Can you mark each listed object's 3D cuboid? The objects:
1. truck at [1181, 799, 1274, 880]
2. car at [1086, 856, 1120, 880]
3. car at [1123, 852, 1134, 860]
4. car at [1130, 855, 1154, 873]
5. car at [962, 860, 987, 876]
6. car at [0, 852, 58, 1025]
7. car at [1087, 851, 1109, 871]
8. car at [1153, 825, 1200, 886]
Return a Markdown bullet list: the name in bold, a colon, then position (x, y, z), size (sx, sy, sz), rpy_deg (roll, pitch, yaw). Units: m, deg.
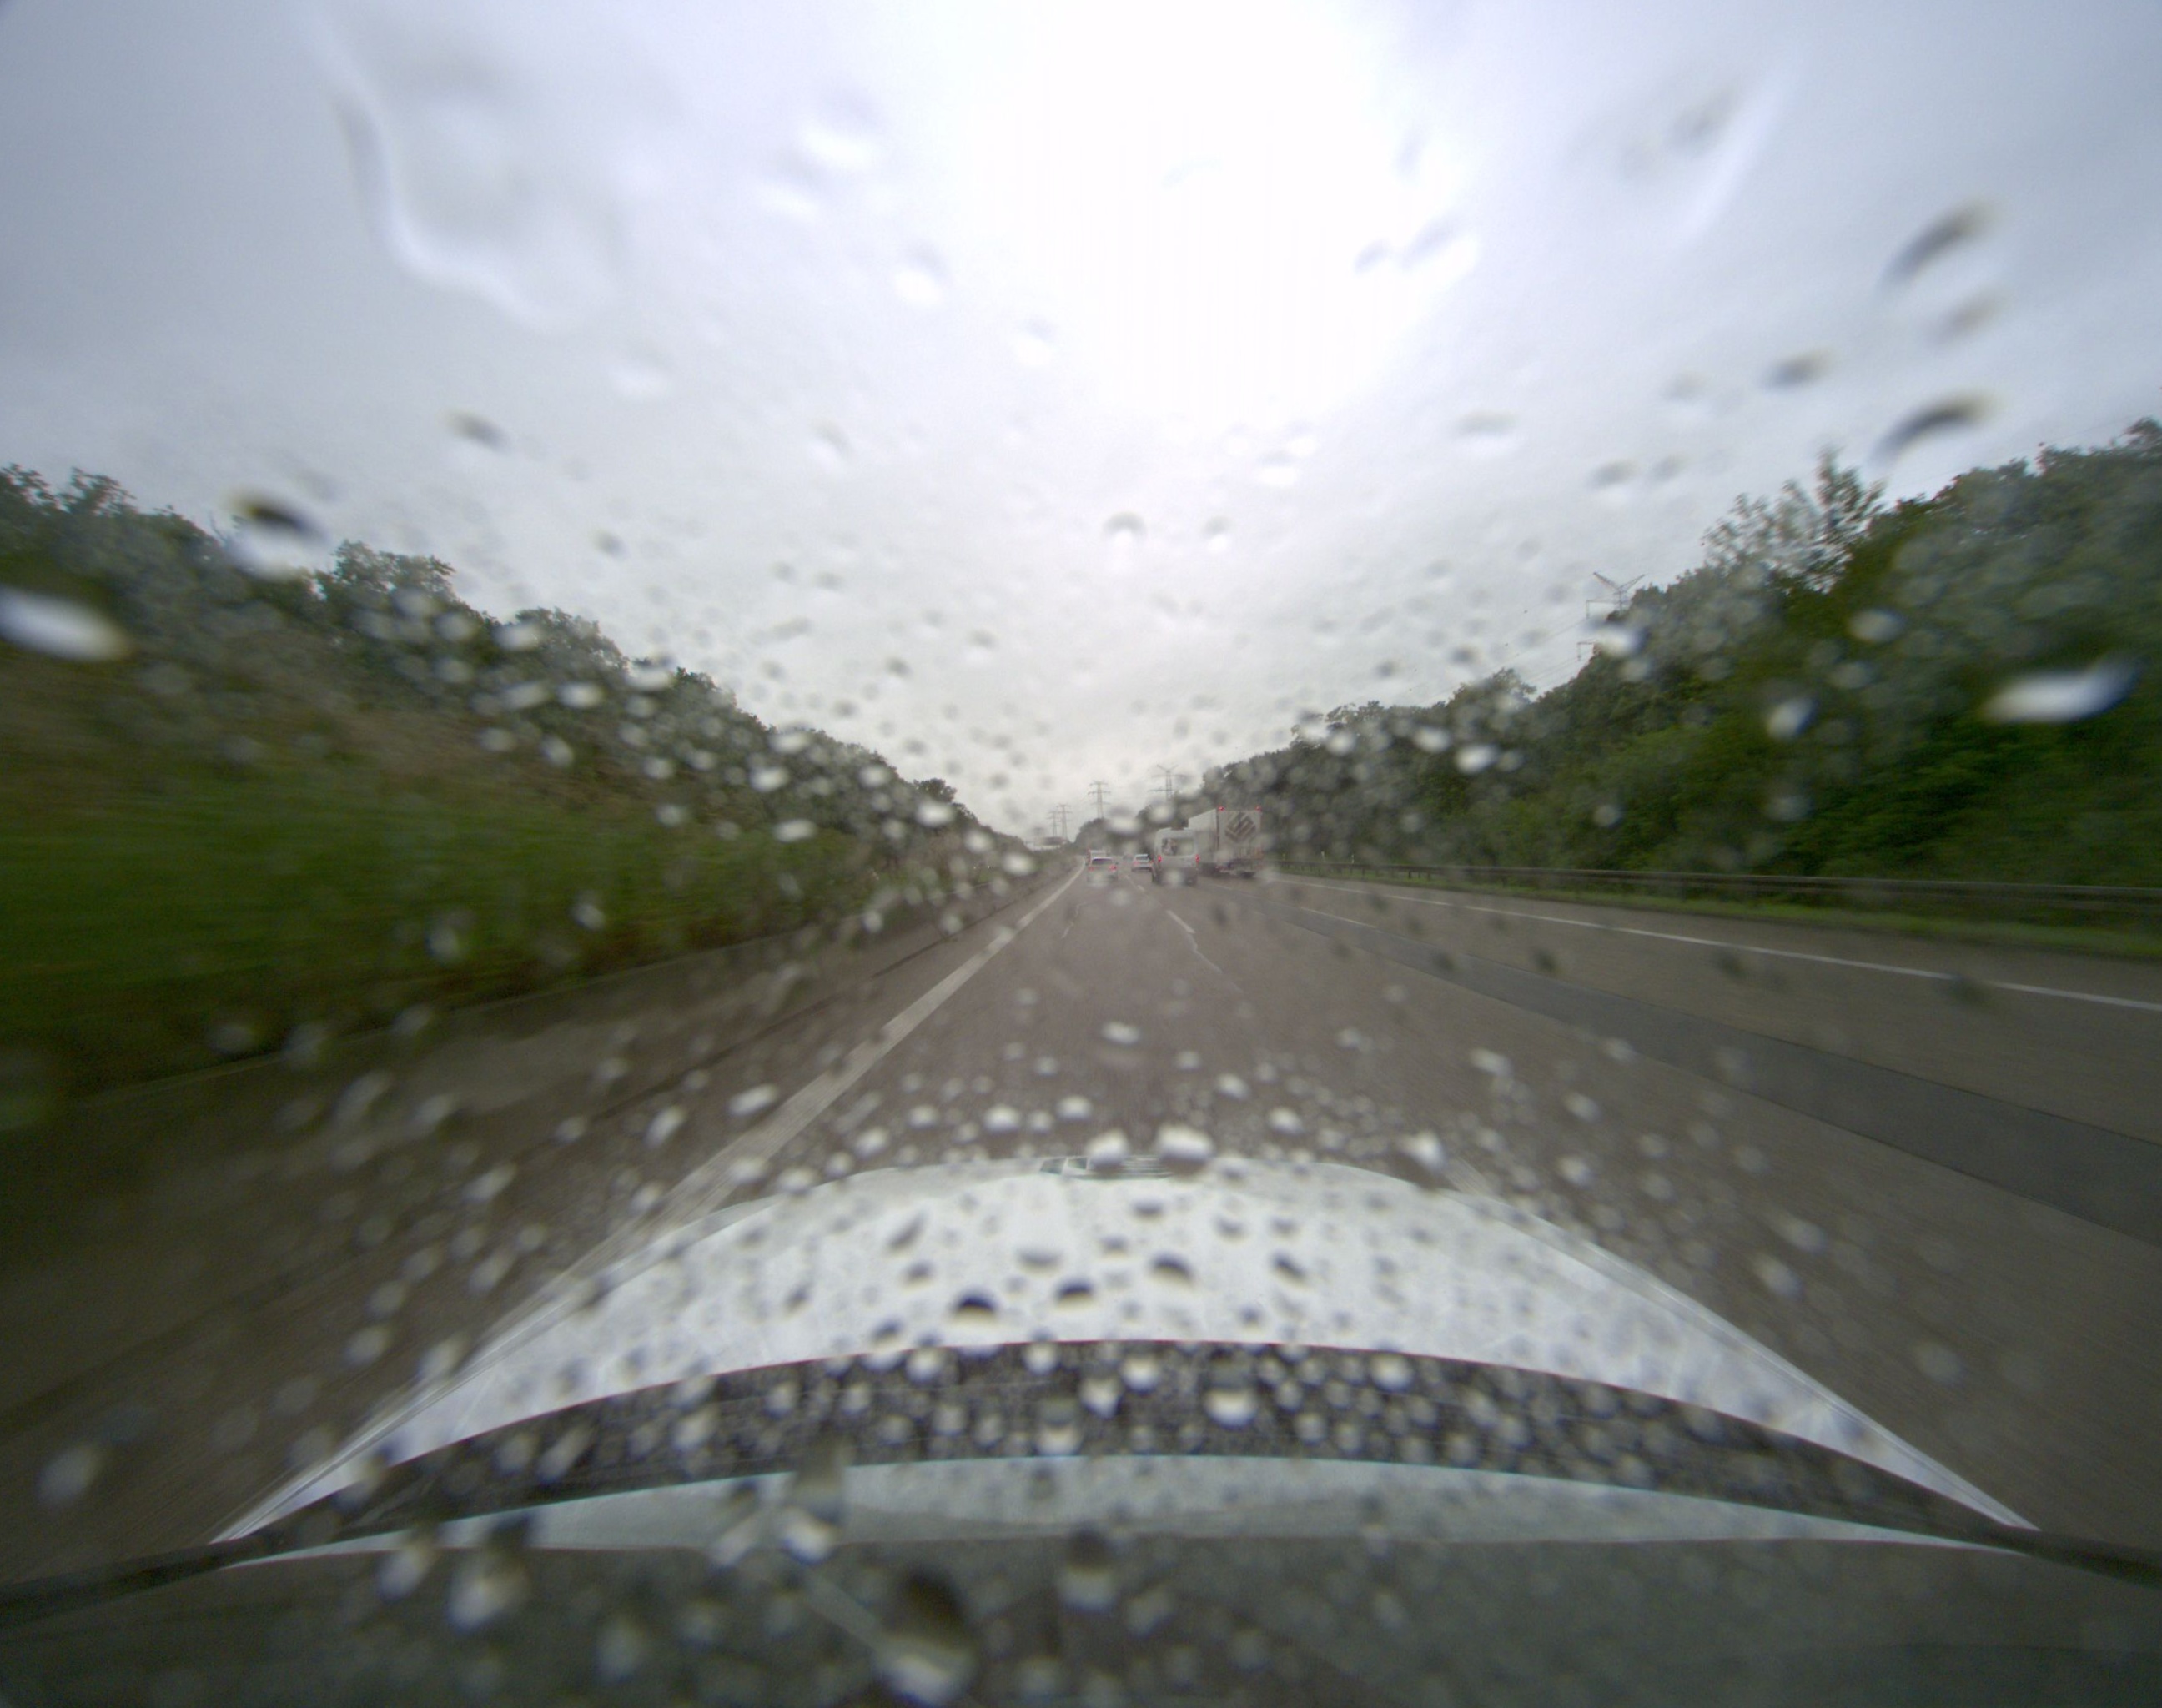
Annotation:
- **truck**: position (8.924, -0.742, 51.655), size (3.591, 4.332, 13.200), rpy_deg (-2, -1, 1)
- **car**: position (1.237, 0.775, 46.797), size (1.860, 1.288, 4.001), rpy_deg (-2, 0, 1)
- **car**: position (9.793, 0.427, 167.077), size (1.985, 1.486, 4.004), rpy_deg (-4, -1, 4)
- **car**: position (5.054, 0.812, 66.920), size (1.848, 1.422, 4.006), rpy_deg (-2, 0, 5)
- **car**: position (-10.760, 1.426, 82.807), size (1.868, 1.453, 4.001), rpy_deg (-2, 0, 1)
- **car**: position (-11.715, 0.860, 6.261), size (1.987, 1.723, 4.494), rpy_deg (-2, 0, 0)
- **car**: position (1.656, 0.617, 77.100), size (1.837, 1.772, 4.005), rpy_deg (-2, 0, 4)
- **car**: position (4.760, 0.059, 41.082), size (1.986, 2.864, 4.003), rpy_deg (-2, 0, 2)
